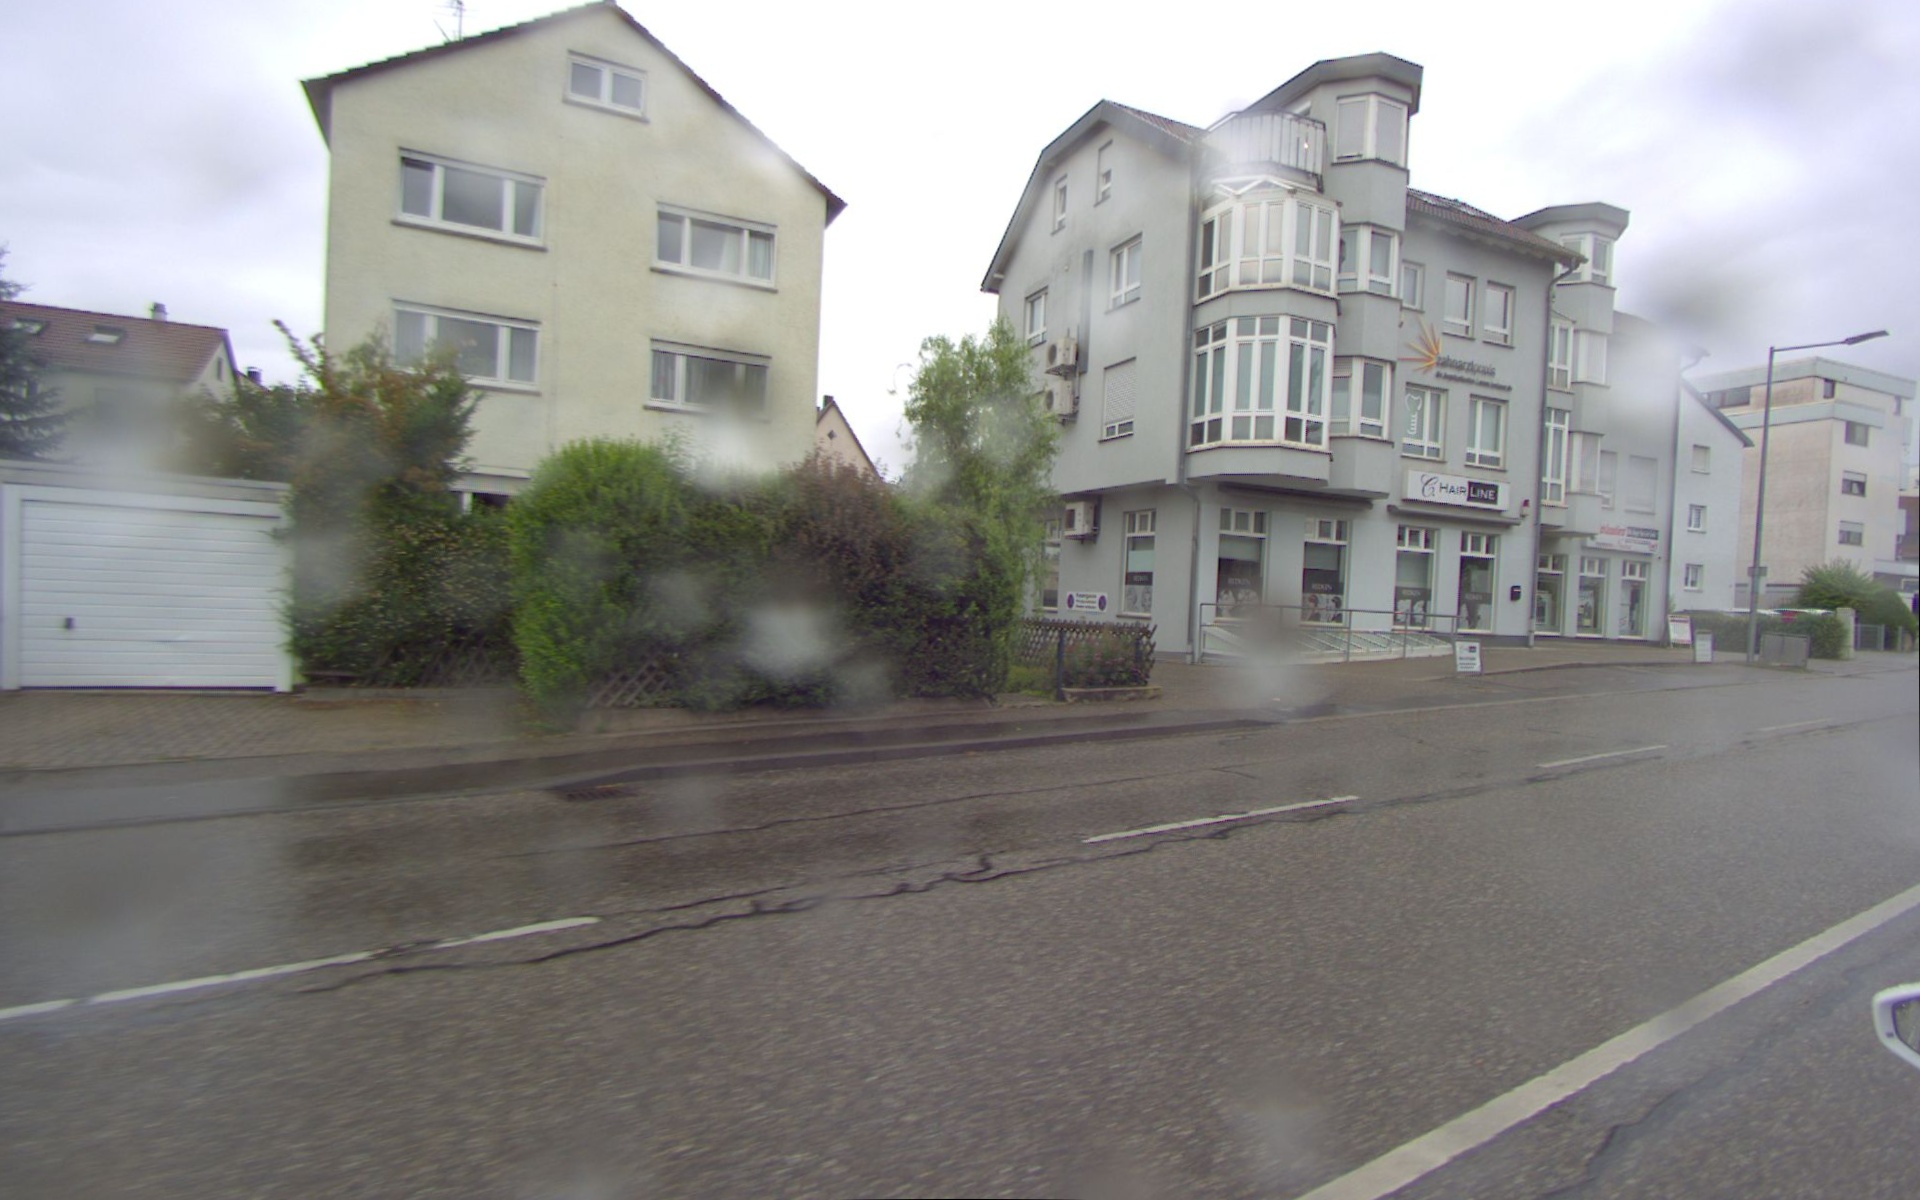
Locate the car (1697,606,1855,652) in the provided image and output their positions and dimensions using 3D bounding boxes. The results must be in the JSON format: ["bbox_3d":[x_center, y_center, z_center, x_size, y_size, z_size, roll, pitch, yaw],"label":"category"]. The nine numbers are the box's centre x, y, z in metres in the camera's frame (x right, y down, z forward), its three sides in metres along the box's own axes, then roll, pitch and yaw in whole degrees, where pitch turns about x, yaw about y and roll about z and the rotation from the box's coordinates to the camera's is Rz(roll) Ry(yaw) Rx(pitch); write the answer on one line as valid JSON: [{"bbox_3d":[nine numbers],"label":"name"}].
[{"bbox_3d":[30.518,1.051,37.704,1.881,1.493,4.202,1,1,-28],"label":"car"}]

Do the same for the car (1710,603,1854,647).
[{"bbox_3d":[35.567,1.036,43.626,1.912,1.659,4.439,1,1,-24],"label":"car"}]
